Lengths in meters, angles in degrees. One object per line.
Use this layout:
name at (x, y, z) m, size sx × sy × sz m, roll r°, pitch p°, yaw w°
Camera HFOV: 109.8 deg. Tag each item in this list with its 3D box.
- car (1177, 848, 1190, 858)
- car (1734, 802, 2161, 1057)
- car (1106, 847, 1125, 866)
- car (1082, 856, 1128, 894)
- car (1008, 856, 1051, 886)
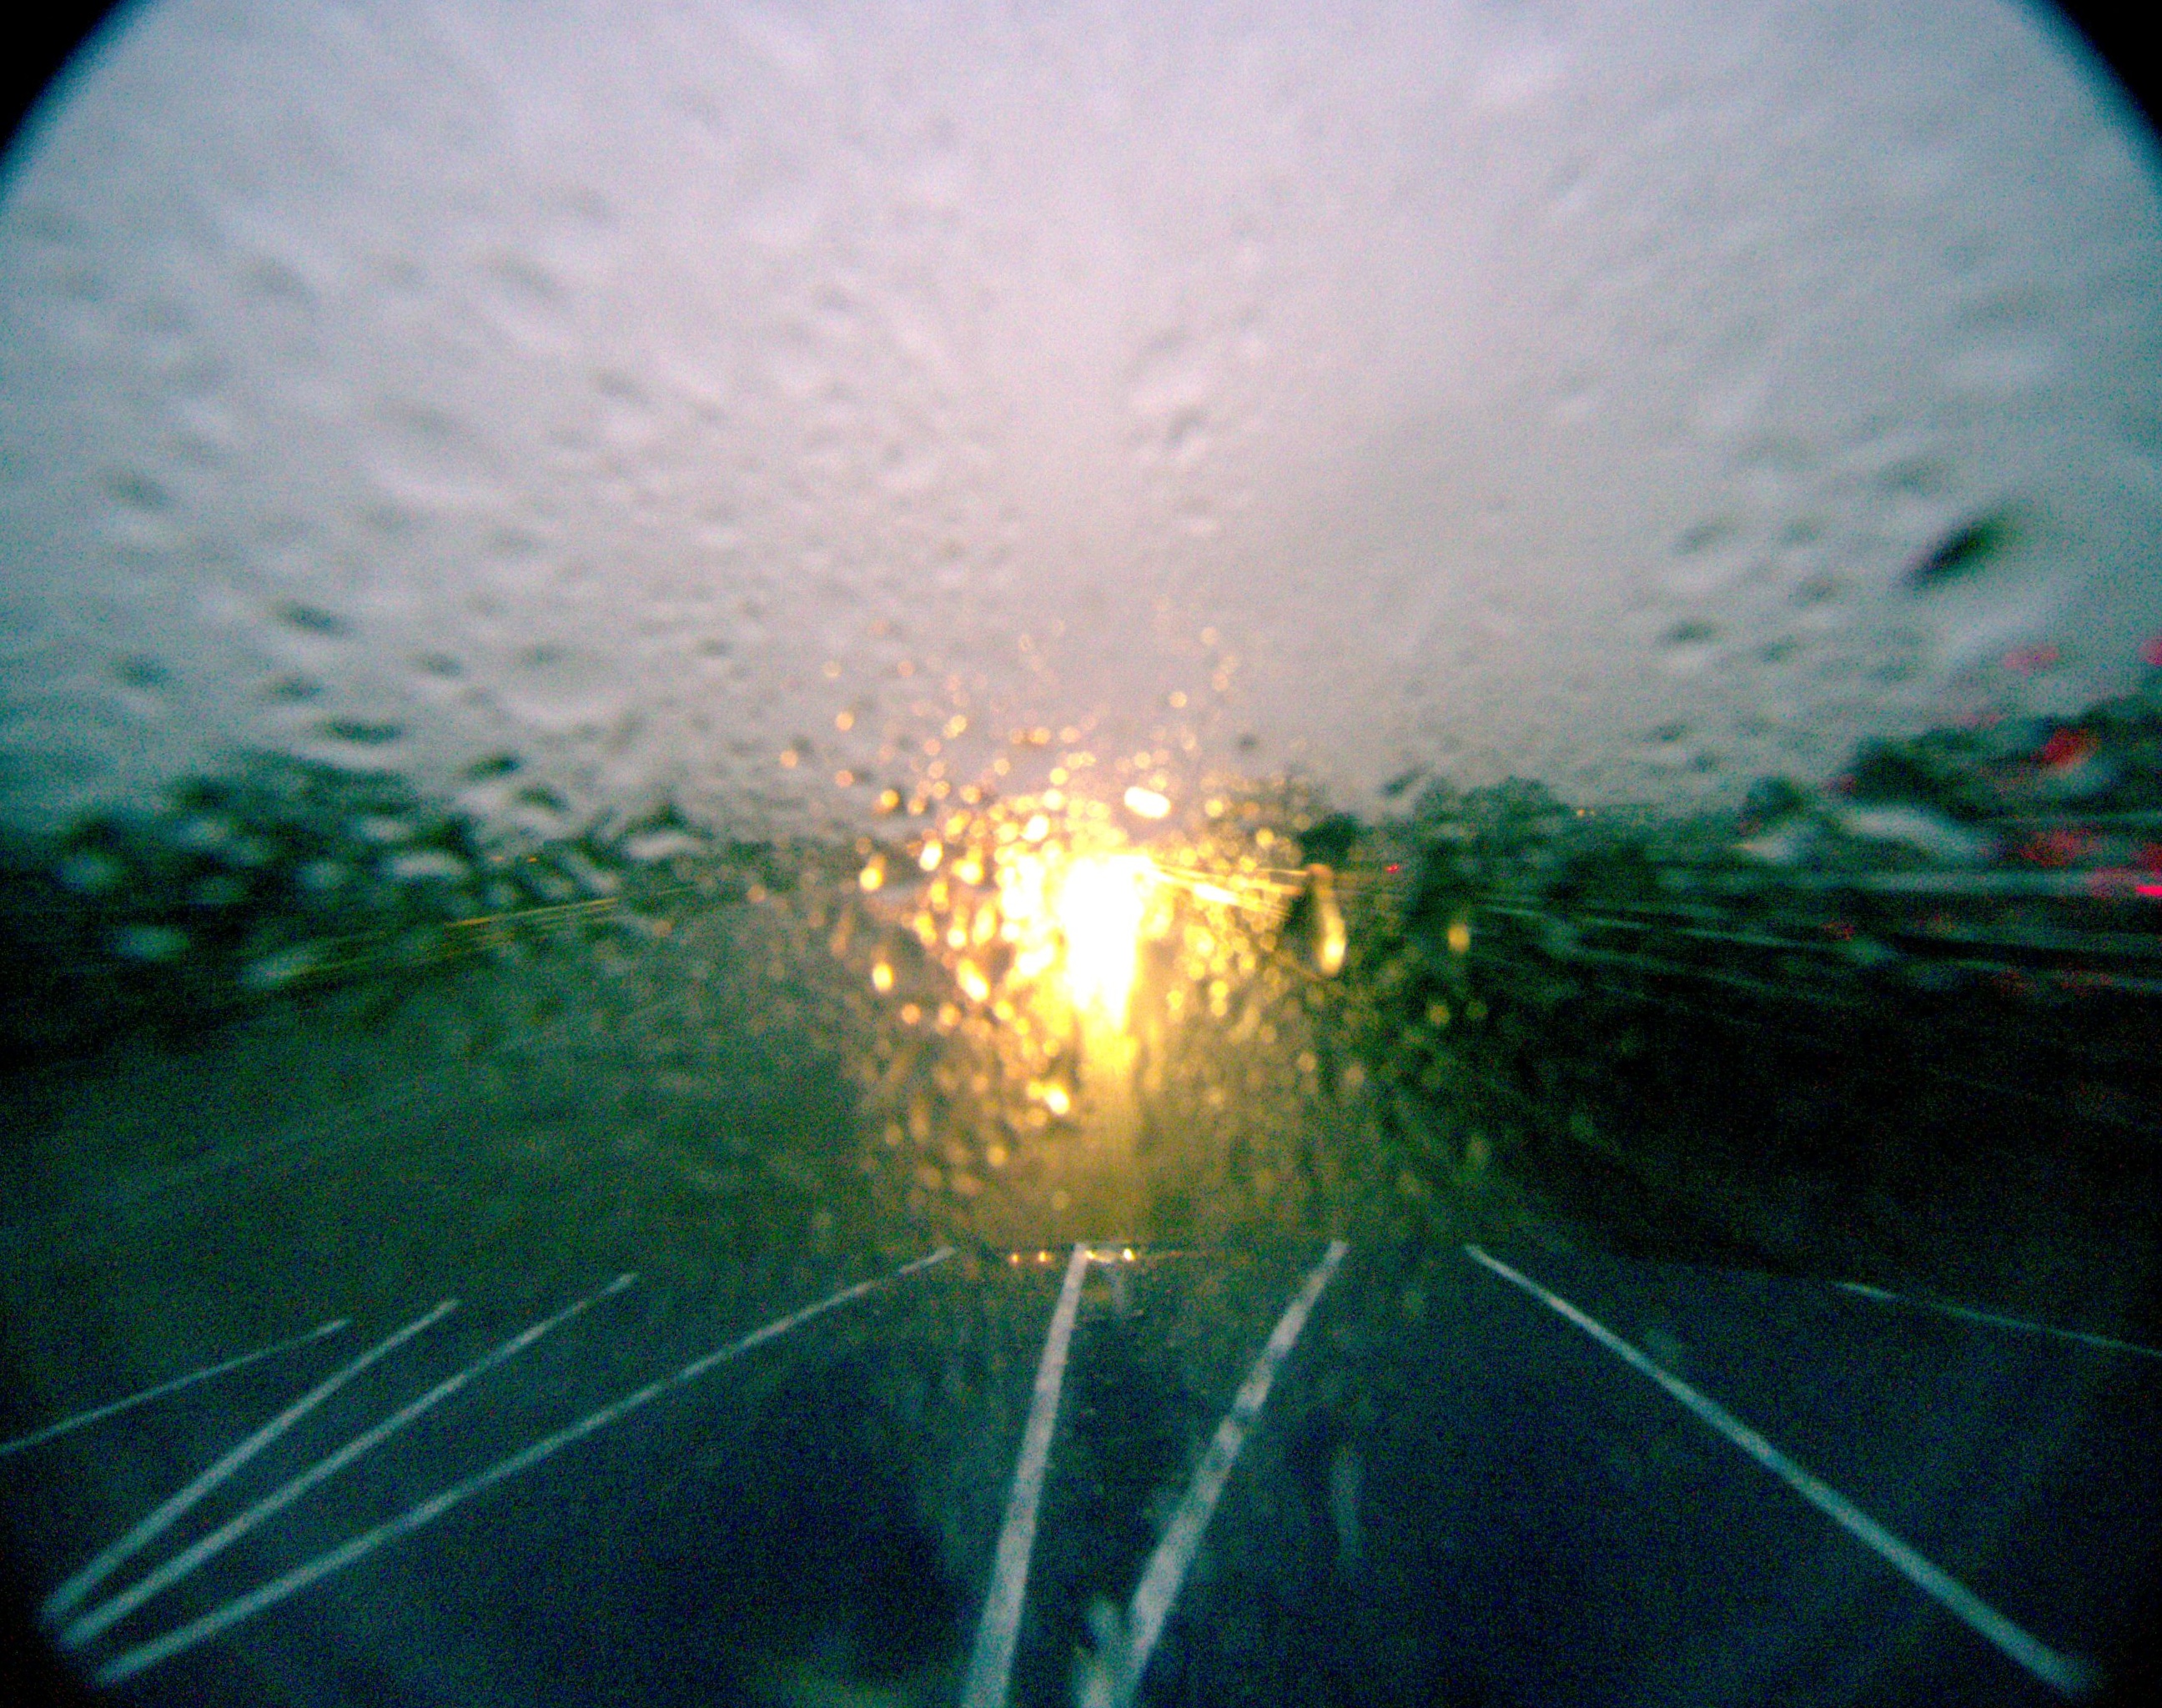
car at (19.578, -0.147, 145.354) m, size 1.899 × 1.773 × 4.705 m, roll -2°, pitch 0°, yaw 3°
car at (7.313, 0.406, 5.195) m, size 1.969 × 1.493 × 4.373 m, roll -2°, pitch 0°, yaw 1°
car at (3.867, 0.246, 86.652) m, size 1.998 × 2.002 × 4.000 m, roll -2°, pitch 0°, yaw 1°
car at (1.080, 0.873, 33.368) m, size 1.850 × 1.521 × 4.149 m, roll -2°, pitch 0°, yaw 2°
car at (-2.700, 0.878, 40.712) m, size 1.850 × 1.521 × 4.149 m, roll -2°, pitch 0°, yaw 2°
